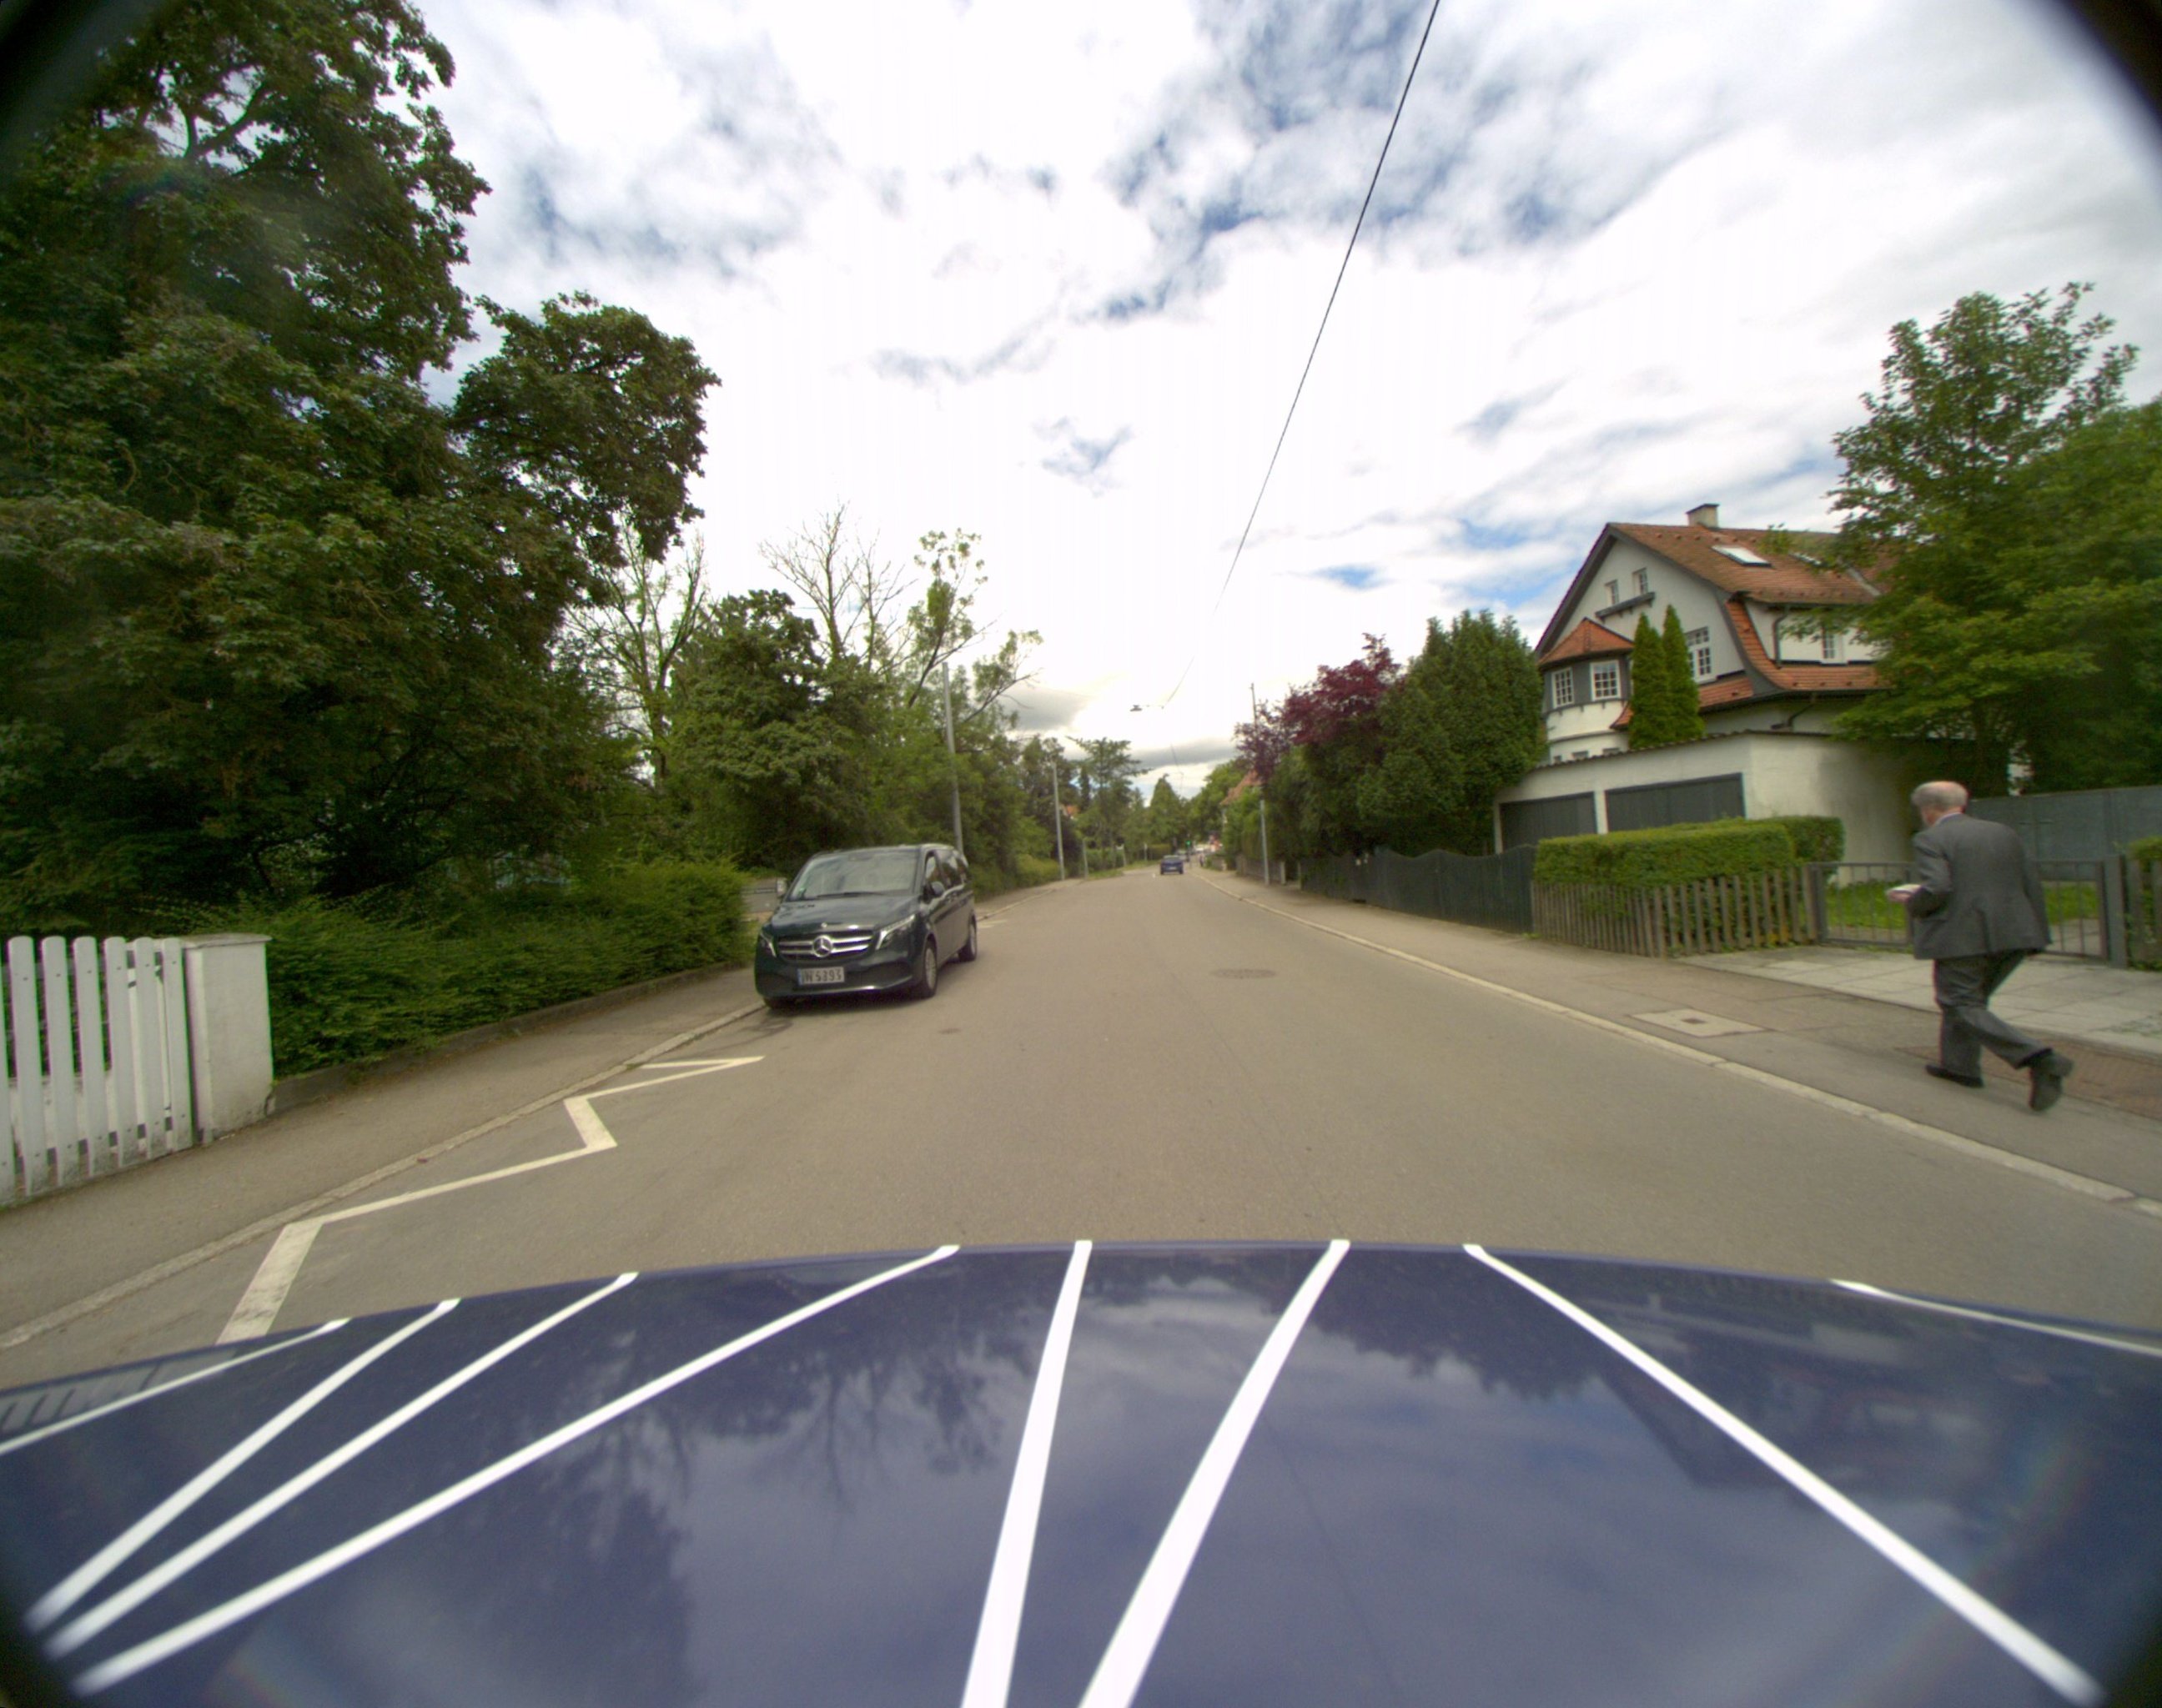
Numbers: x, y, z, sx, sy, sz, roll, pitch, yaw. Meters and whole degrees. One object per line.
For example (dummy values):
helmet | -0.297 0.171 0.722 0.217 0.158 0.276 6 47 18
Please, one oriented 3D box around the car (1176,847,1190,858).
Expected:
car | 15.570 -0.199 115.641 1.844 1.646 4.139 -1 1 4

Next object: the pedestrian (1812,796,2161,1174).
pedestrian | 4.823 0.593 4.017 0.724 1.677 1.109 -6 1 2

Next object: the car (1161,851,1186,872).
car | 7.249 0.543 59.431 1.697 1.423 3.930 -4 0 9

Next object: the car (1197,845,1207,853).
car | 26.955 -1.123 169.206 1.998 1.686 4.001 -6 0 6

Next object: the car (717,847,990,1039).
car | -2.633 0.898 10.332 1.914 1.837 5.158 -4 0 1

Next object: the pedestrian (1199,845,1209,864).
pedestrian | 11.803 0.040 72.863 0.821 1.734 0.604 -6 1 7

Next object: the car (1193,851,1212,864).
car | 15.125 0.470 94.569 1.821 1.343 3.395 -6 0 17
